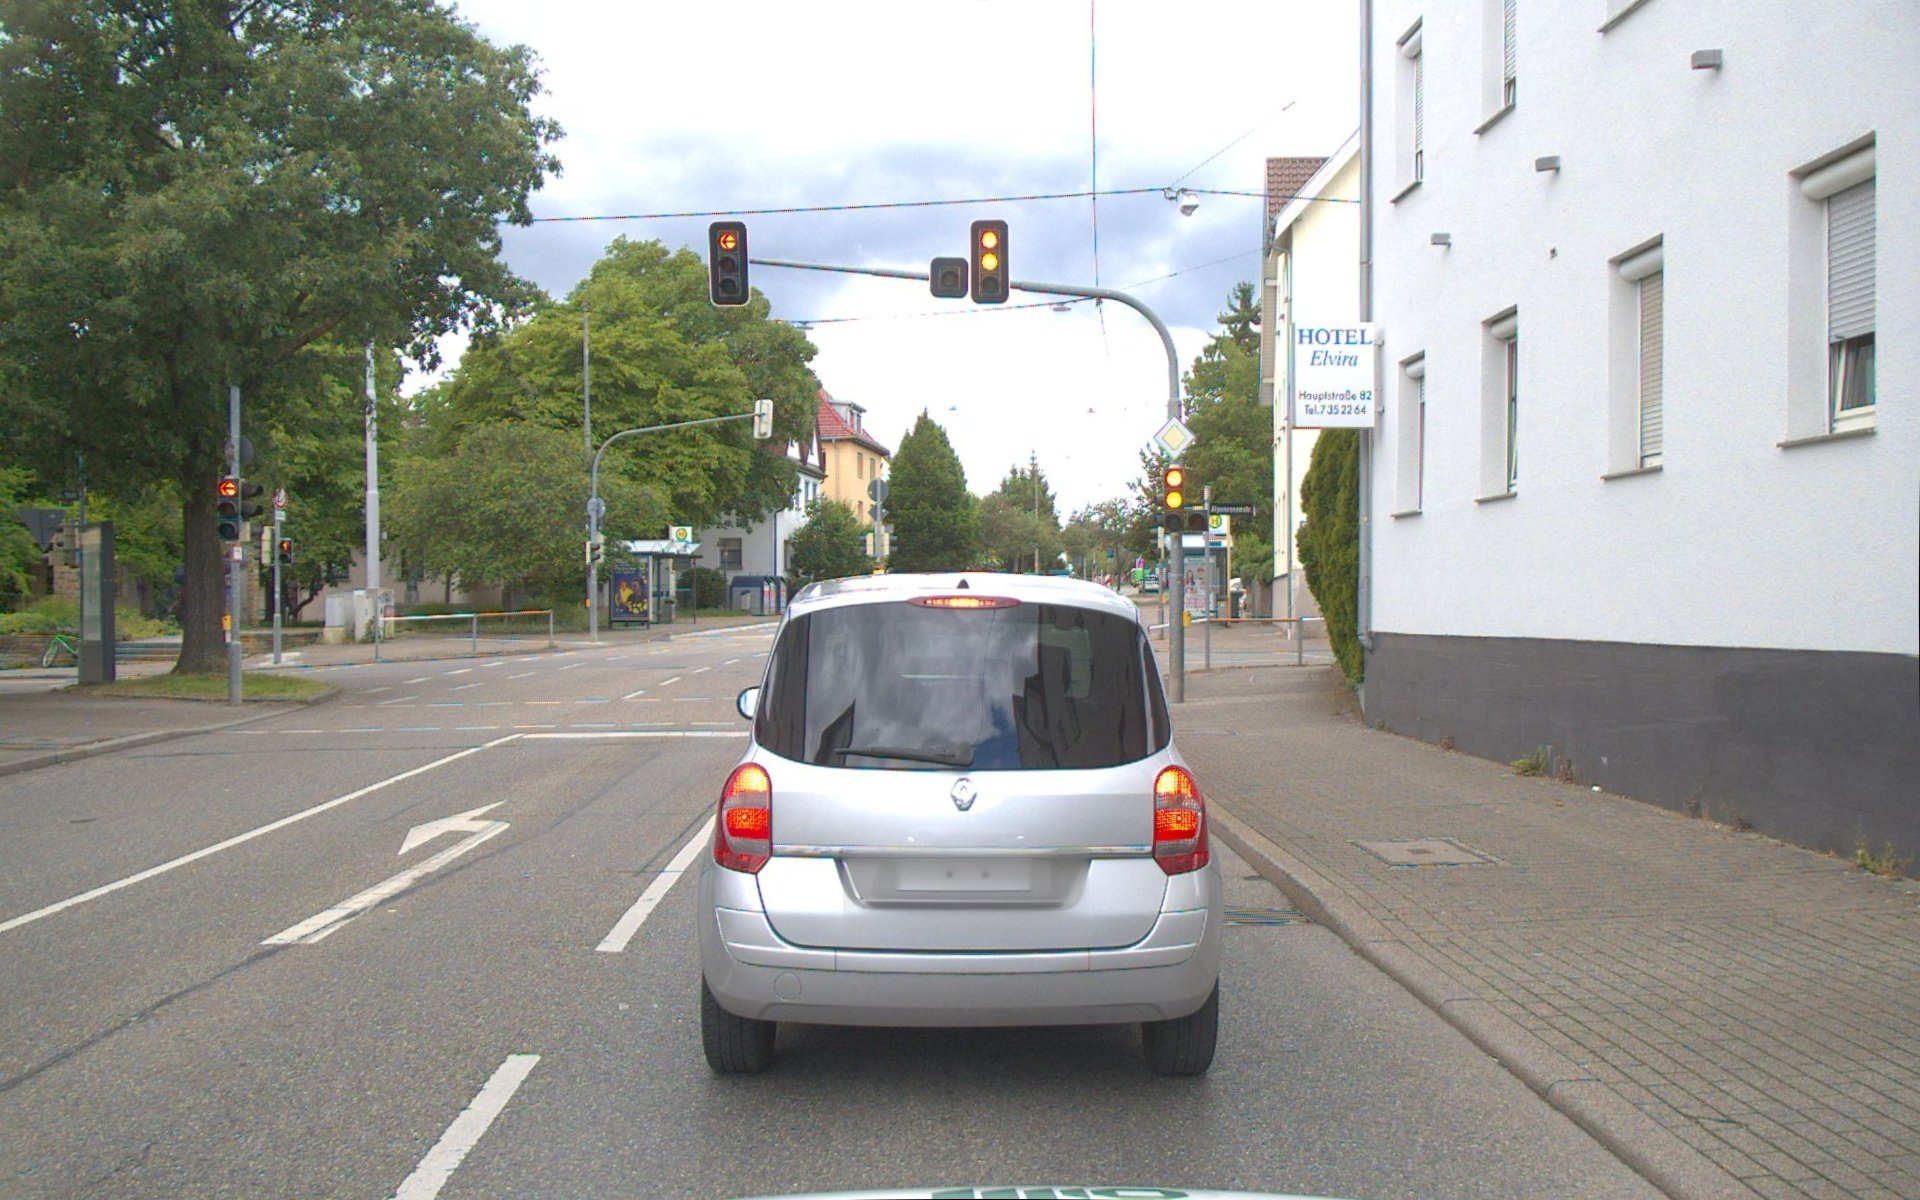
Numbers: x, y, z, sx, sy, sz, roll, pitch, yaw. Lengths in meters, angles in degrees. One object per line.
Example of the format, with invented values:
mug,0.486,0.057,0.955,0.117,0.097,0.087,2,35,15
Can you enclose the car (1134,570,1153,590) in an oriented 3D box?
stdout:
car,23.779,-2.610,214.661,2.015,2.556,5.600,1,0,11

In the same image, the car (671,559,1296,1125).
car,0.030,0.672,6.581,1.719,1.557,3.999,1,0,-1

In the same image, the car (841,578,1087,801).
car,-0.012,0.629,13.552,1.719,1.557,3.796,1,0,-1

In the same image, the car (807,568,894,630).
car,-3.537,-0.048,54.131,1.885,1.804,4.004,-4,0,9

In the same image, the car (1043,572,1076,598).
car,7.124,-1.071,118.304,1.818,1.778,4.003,1,0,11

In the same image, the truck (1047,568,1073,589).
truck,10.088,-2.153,166.686,2.056,2.049,5.752,1,0,9
